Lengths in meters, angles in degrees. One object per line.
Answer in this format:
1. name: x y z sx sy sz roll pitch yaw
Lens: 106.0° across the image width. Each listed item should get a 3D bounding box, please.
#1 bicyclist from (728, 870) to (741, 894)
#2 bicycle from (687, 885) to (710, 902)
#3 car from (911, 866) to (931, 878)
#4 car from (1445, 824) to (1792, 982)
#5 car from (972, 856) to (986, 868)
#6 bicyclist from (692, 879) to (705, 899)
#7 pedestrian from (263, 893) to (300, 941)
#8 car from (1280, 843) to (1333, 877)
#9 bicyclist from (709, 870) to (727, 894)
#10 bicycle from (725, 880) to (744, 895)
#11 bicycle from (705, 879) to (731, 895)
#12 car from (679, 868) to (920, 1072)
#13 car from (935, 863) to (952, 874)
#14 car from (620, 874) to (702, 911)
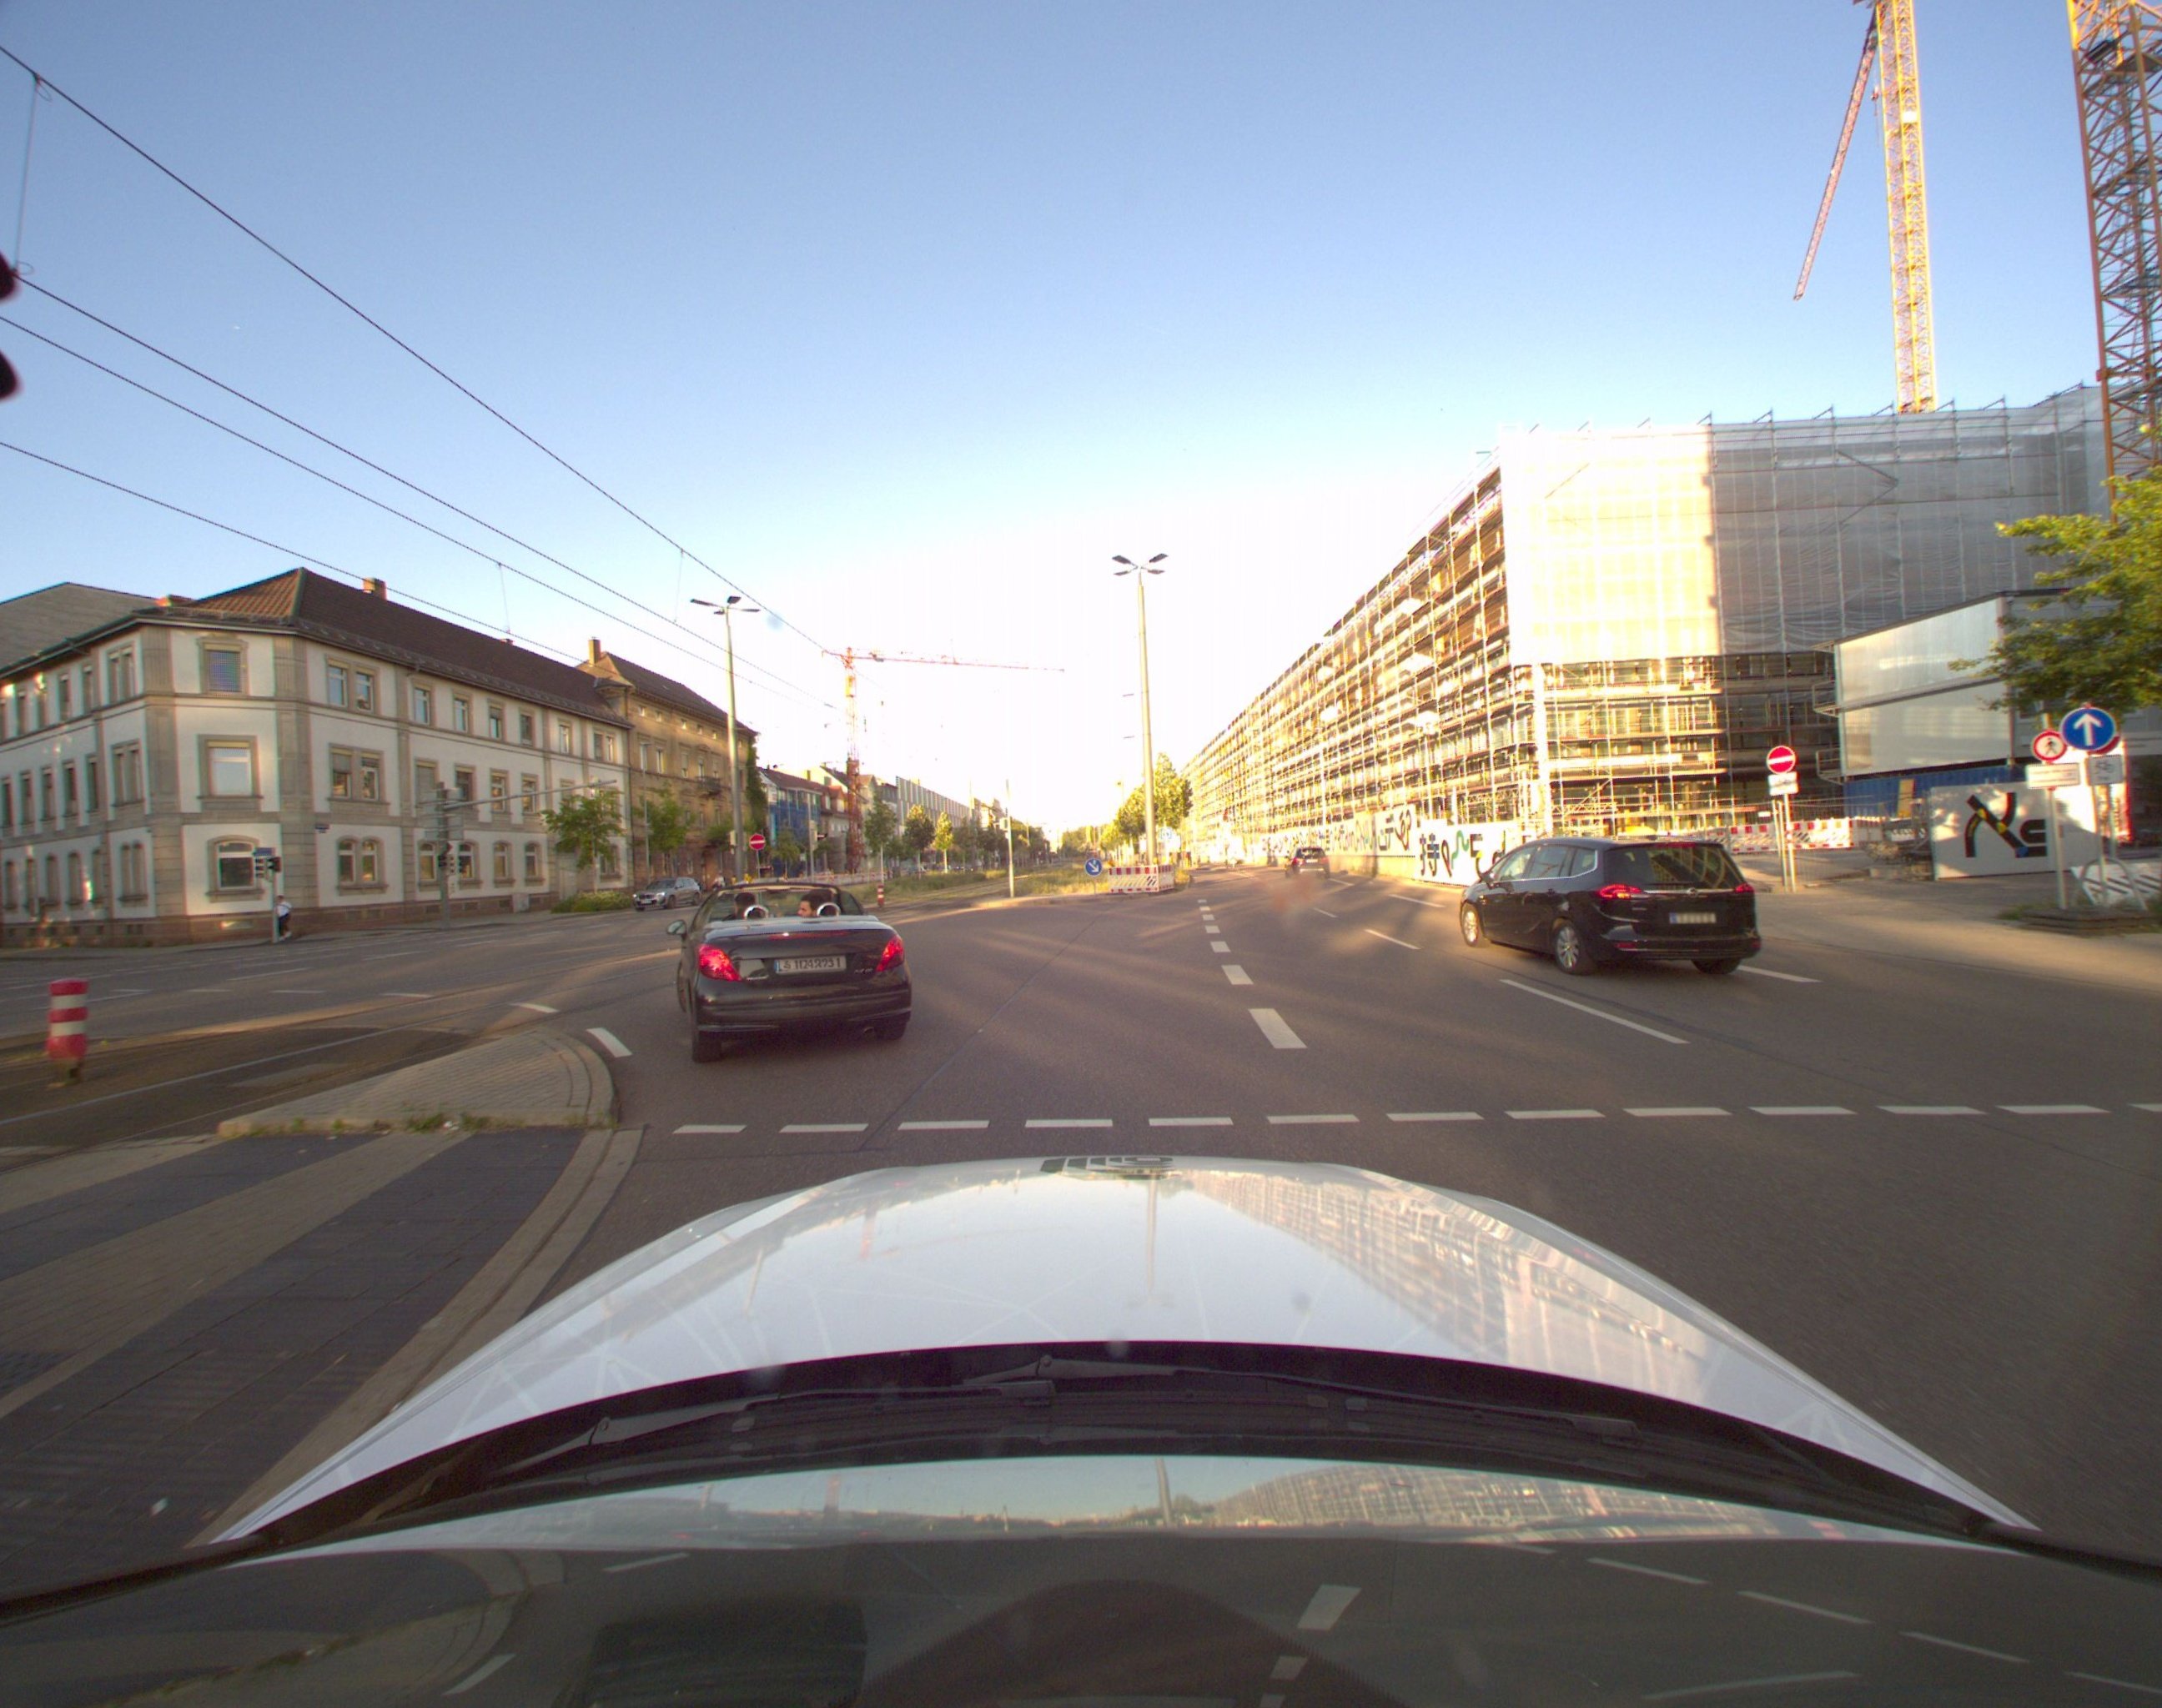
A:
1. bicyclist: -23.186 1.862 54.499 0.588 1.569 0.711 -1 0 1
2. bicycle: -24.650 2.551 52.456 0.586 0.989 1.559 -1 0 7
3. car: -20.221 2.250 102.835 1.651 1.431 3.896 -1 0 2
4. car: 6.518 0.493 10.593 1.815 1.598 4.371 -1 0 3
5. car: -17.388 1.285 138.808 1.651 1.964 4.268 -1 0 2
6. bicyclist: -24.652 2.265 52.458 0.587 1.266 0.461 -1 0 6
7. pedestrian: -30.062 2.351 30.635 0.814 1.715 0.698 -1 0 -27
8. car: 10.945 0.284 39.847 1.811 1.518 4.801 -1 0 7
9. bicyclist: -24.231 1.878 54.398 0.767 1.570 0.795 -1 0 10
10. bicycle: -23.183 2.230 54.499 0.587 0.975 1.556 -1 0 1
11. bicycle: -24.229 2.206 54.396 0.767 0.945 1.644 -1 0 11
12. car: -2.933 0.849 7.889 1.683 1.352 3.965 -2 0 -27
13. car: -20.392 2.166 120.893 1.651 1.431 3.896 -1 0 2
14. car: -21.908 1.987 42.706 1.987 1.580 4.125 -4 0 1
